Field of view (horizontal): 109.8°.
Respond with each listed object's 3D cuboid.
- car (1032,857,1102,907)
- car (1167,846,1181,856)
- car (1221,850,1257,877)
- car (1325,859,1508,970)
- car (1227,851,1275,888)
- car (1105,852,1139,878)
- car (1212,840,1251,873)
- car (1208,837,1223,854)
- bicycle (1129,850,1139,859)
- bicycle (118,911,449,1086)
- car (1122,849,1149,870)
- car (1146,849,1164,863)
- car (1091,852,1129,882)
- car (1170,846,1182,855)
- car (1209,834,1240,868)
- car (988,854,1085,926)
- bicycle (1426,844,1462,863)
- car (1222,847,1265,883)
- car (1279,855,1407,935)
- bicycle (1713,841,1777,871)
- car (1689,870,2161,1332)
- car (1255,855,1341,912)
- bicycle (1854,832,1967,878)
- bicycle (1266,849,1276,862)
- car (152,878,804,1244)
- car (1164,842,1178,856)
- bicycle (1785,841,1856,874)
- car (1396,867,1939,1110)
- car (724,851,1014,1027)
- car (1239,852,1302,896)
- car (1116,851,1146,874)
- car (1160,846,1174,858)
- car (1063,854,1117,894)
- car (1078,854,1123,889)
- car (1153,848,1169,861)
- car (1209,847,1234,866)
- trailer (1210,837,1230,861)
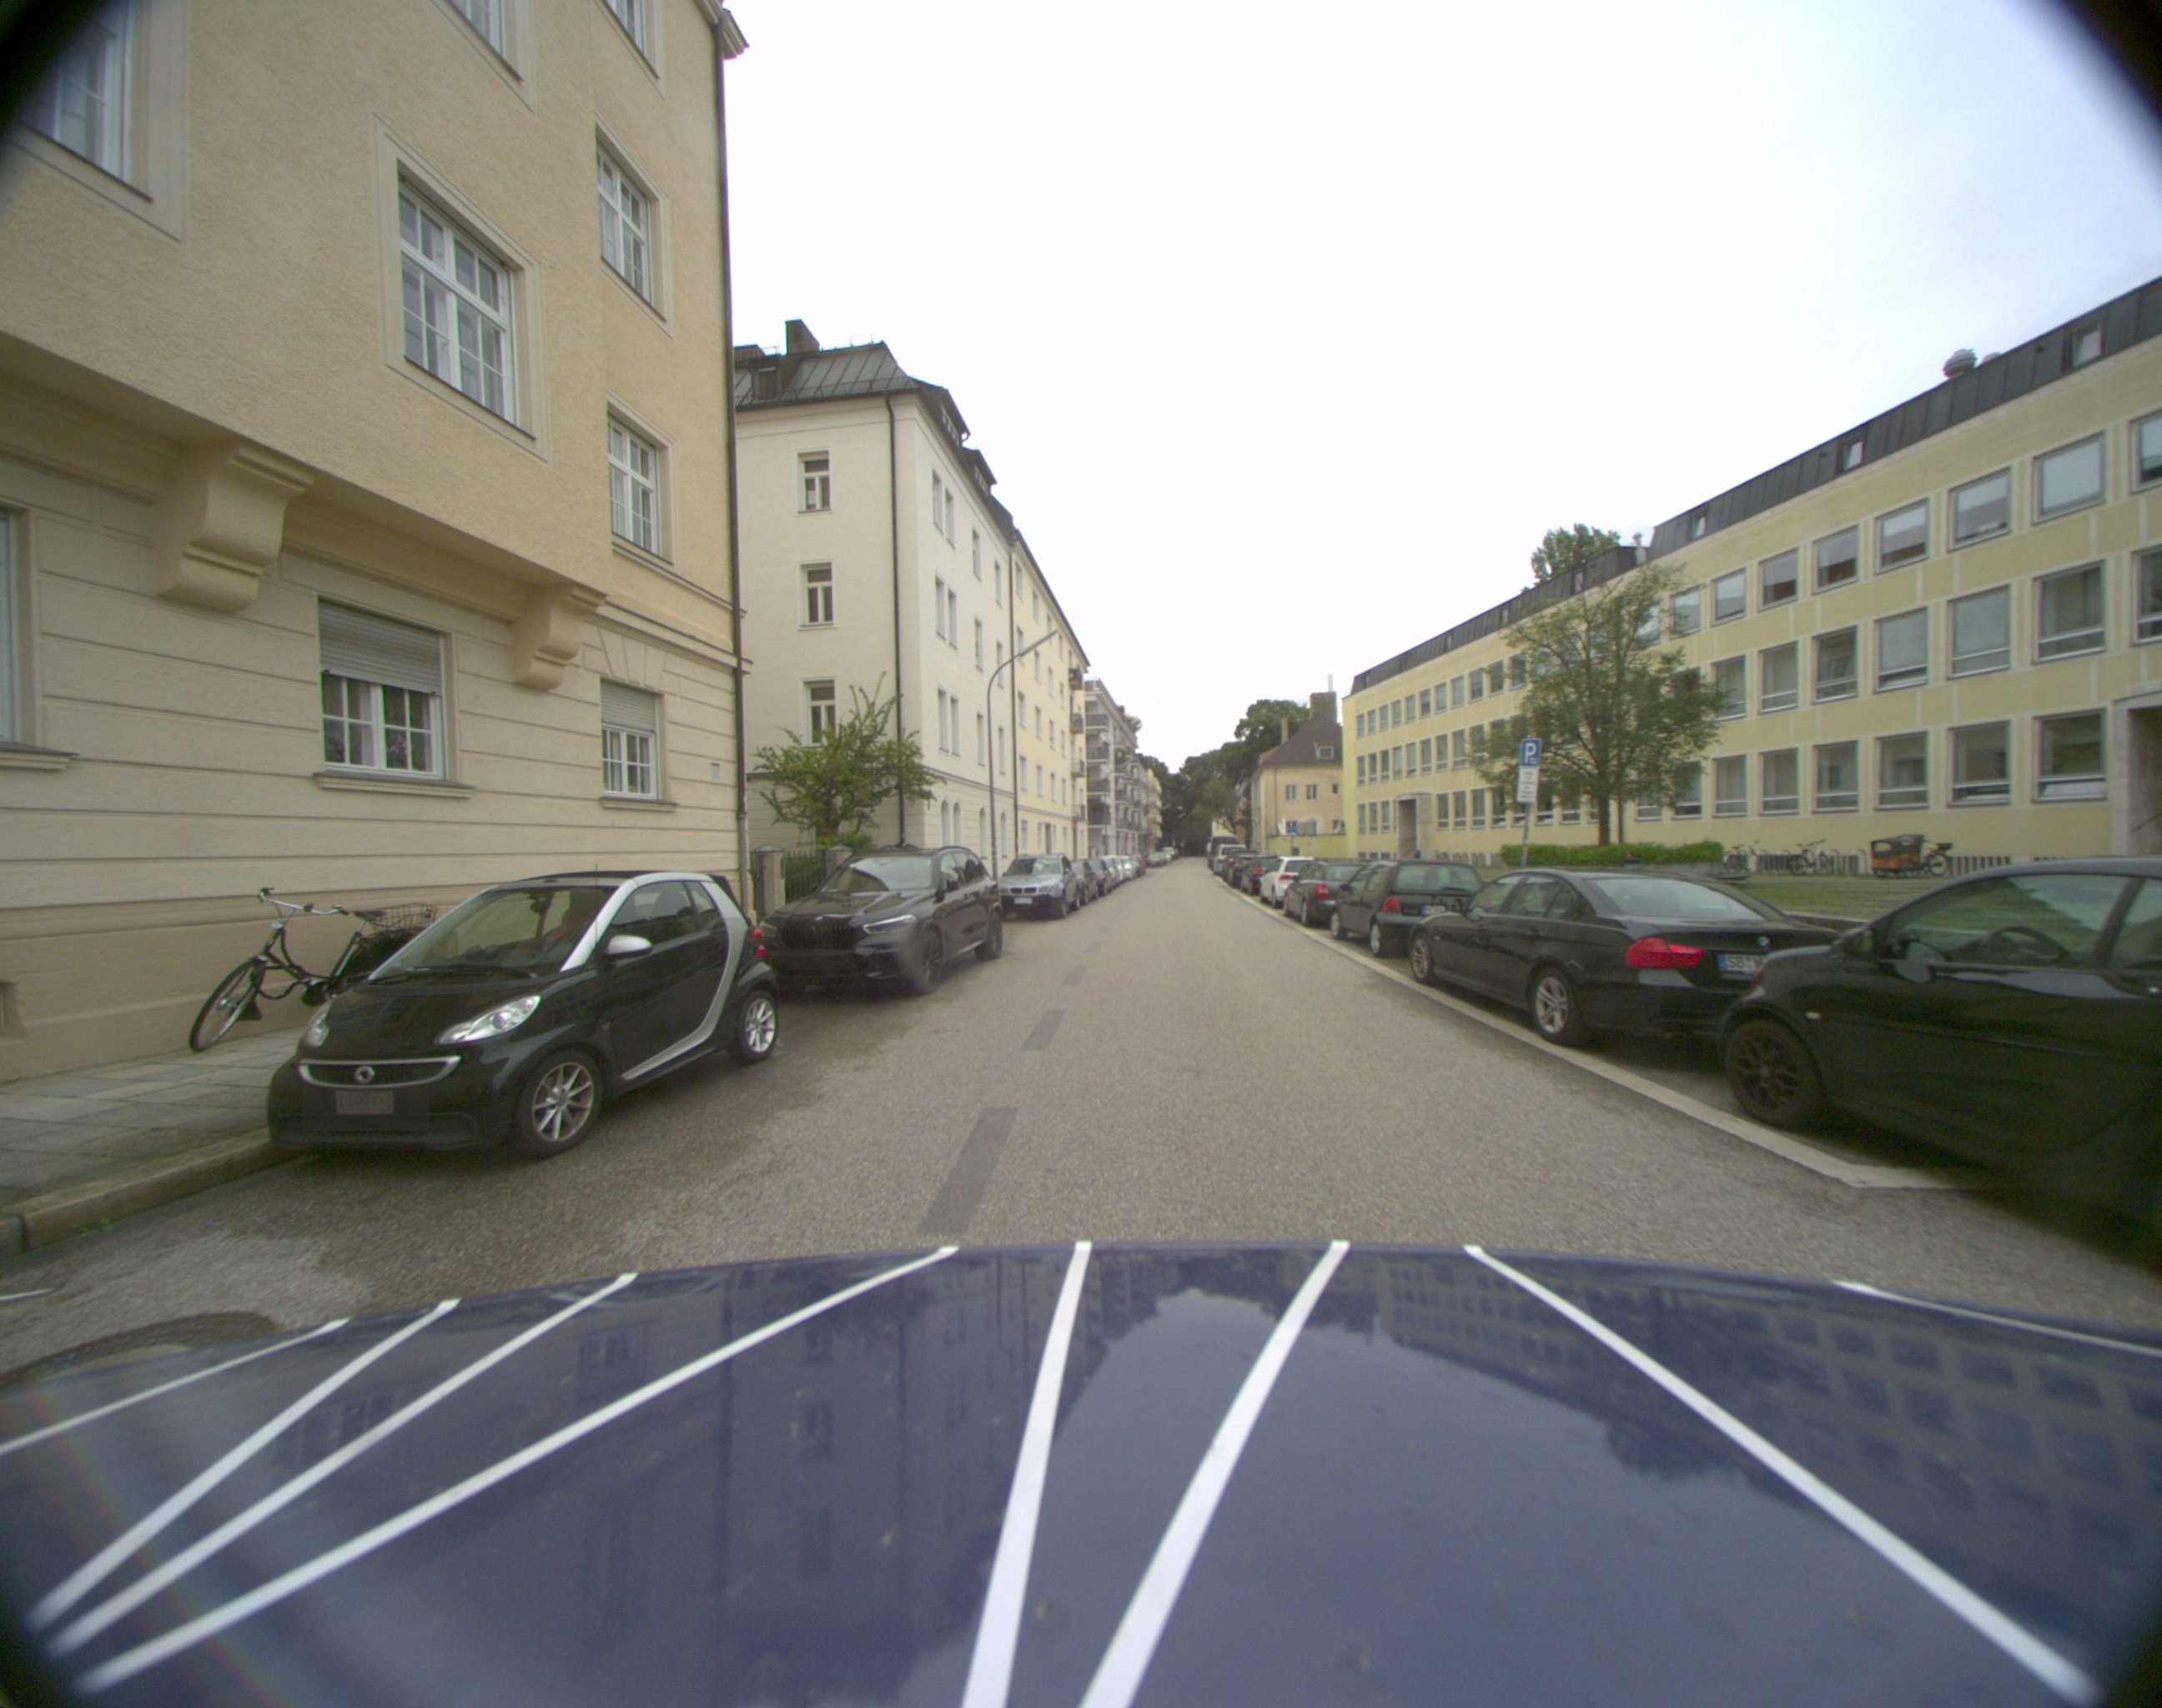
[{"bbox_3d":[-0.388,0.864,25.277,1.682,1.419,4.089,-1,1,8],"label":"car"},{"bbox_3d":[14.800,-0.537,120.877,1.870,1.455,4.270,-1,1,10],"label":"car"},{"bbox_3d":[9.020,0.509,43.648,1.747,1.379,3.920,-2,0,8],"label":"car"},{"bbox_3d":[5.097,0.828,12.011,1.660,1.445,3.313,0,1,5],"label":"car"},{"bbox_3d":[7.359,0.625,33.112,1.683,1.445,3.871,0,1,7],"label":"car"},{"bbox_3d":[2.483,0.602,45.468,1.682,1.402,4.445,-1,1,7],"label":"car"},{"bbox_3d":[9.508,0.117,48.365,1.932,1.968,5.024,0,1,6],"label":"car"},{"bbox_3d":[20.444,-1.257,115.001,2.103,2.418,4.552,-1,1,11],"label":"car"},{"bbox_3d":[6.489,0.101,93.492,0.580,1.008,1.956,-2,1,21],"label":"bicycle"},{"bbox_3d":[-6.555,1.109,6.434,0.580,1.077,1.954,1,1,8],"label":"bicycle"},{"bbox_3d":[4.058,0.380,56.089,1.682,1.489,3.825,-1,1,7],"label":"car"},{"bbox_3d":[7.665,0.162,79.134,1.783,1.386,4.247,-2,1,5],"label":"car"},{"bbox_3d":[1.600,0.651,40.817,1.682,1.473,4.168,-1,1,7],"label":"car"},{"bbox_3d":[16.329,-0.542,130.918,1.870,1.455,4.270,-1,1,10],"label":"car"},{"bbox_3d":[11.542,-0.282,61.403,2.301,2.630,5.657,0,1,10],"label":"car"},{"bbox_3d":[-1.058,0.856,20.298,1.726,1.625,4.459,-1,1,8],"label":"car"},{"bbox_3d":[22.169,-0.034,46.380,1.953,1.008,0.580,-3,1,-9],"label":"bicycle"},{"bbox_3d":[8.148,0.486,38.394,1.747,1.656,4.451,2,1,7],"label":"car"},{"bbox_3d":[5.550,0.785,16.641,1.758,1.445,4.398,0,1,7],"label":"car"},{"bbox_3d":[23.967,0.076,27.417,1.953,1.008,0.625,-2,1,-9],"label":"bicycle"},{"bbox_3d":[4.523,0.868,3.140,1.674,1.493,2.978,0,1,2],"label":"car"},{"bbox_3d":[6.193,0.767,22.133,1.660,1.445,4.074,0,1,5],"label":"car"},{"bbox_3d":[24.466,0.023,22.431,2.442,1.241,1.056,-2,1,-9],"label":"bicycle"},{"bbox_3d":[17.363,0.098,69.488,0.580,1.125,1.744,-1,1,7],"label":"bicycle"},{"bbox_3d":[-3.430,1.026,5.092,1.538,1.515,3.112,-3,1,10],"label":"car"},{"bbox_3d":[13.729,-0.776,115.332,1.870,2.002,4.270,-1,1,10],"label":"car"},{"bbox_3d":[24.377,0.111,25.060,1.953,1.008,0.625,-2,1,-9],"label":"bicycle"},{"bbox_3d":[4.646,0.895,7.079,1.803,1.398,4.456,0,1,4],"label":"car"},{"bbox_3d":[-2.436,0.891,10.299,1.872,1.707,4.868,-3,1,8],"label":"car"},{"bbox_3d":[6.918,0.678,28.066,1.660,1.445,3.975,0,1,5],"label":"car"},{"bbox_3d":[3.366,0.550,50.729,1.682,1.402,4.423,-1,1,7],"label":"car"},{"bbox_3d":[11.375,-0.242,100.318,1.765,1.449,3.749,-1,1,8],"label":"car"},{"bbox_3d":[0.433,0.752,30.662,1.682,1.419,4.392,-1,1,7],"label":"car"},{"bbox_3d":[0.984,0.757,35.405,1.682,1.419,4.168,-1,1,7],"label":"car"},{"bbox_3d":[9.338,0.009,88.555,1.765,1.449,3.749,-1,1,8],"label":"car"},{"bbox_3d":[12.240,0.198,66.366,1.705,1.485,3.490,-2,1,4],"label":"car"},{"bbox_3d":[15.136,-0.575,82.651,1.815,2.521,3.391,2,2,13],"label":"trailer"}]
